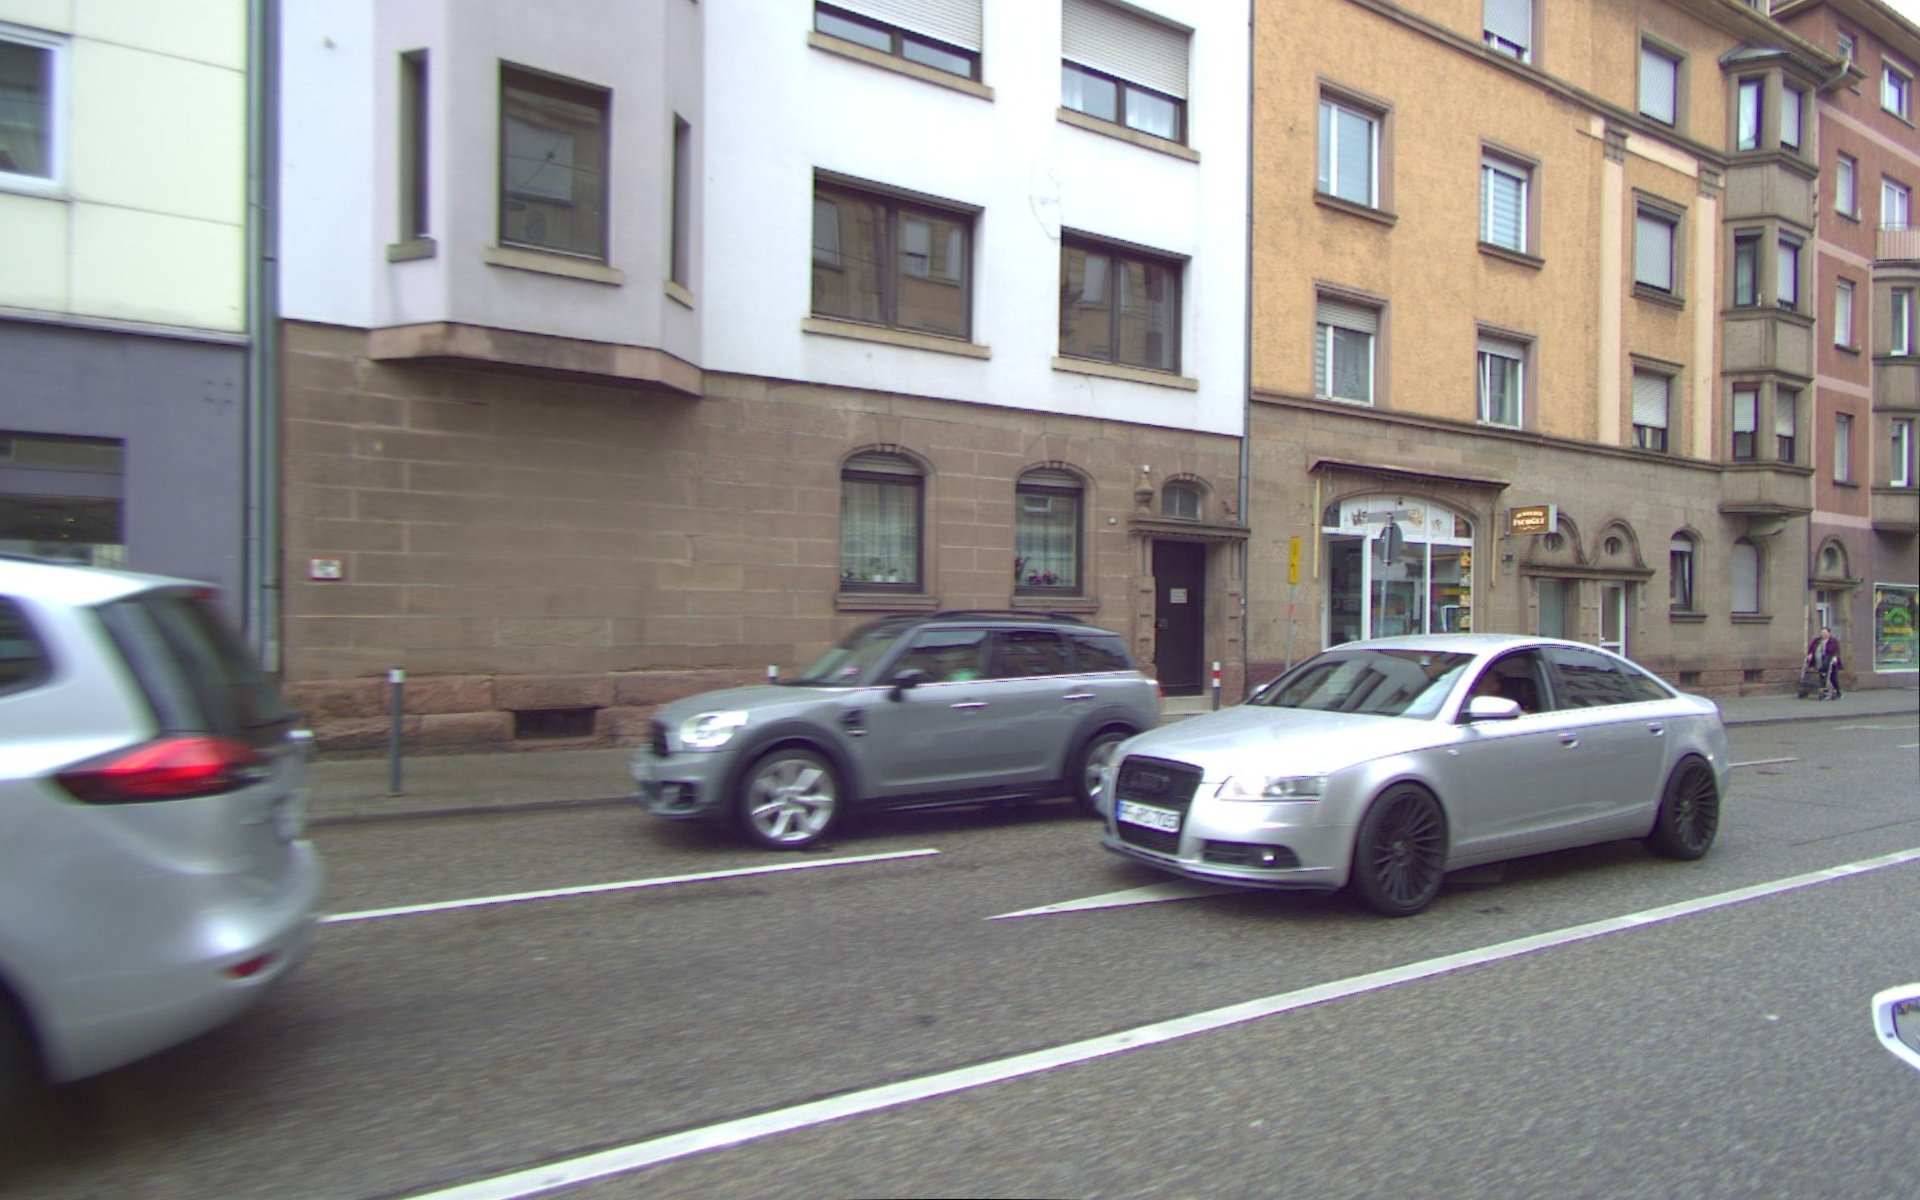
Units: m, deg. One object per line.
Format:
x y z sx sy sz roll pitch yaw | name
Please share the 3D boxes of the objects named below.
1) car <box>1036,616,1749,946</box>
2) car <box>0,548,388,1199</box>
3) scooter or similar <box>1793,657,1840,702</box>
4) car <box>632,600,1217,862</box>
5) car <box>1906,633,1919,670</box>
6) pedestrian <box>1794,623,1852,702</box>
2.900 0.907 6.513 4.505 1.490 1.934 2 -2 -29 | car
-4.060 0.654 2.531 4.466 1.604 1.934 2 -2 -29 | car
18.993 1.755 22.276 0.477 0.937 0.706 2 0 -41 | scooter or similar
-0.265 0.903 8.075 4.280 1.616 1.975 2 -2 -26 | car
43.540 2.234 42.671 4.565 1.553 1.901 0 -2 34 | car
19.474 1.393 22.669 0.847 1.701 0.835 2 0 -41 | pedestrian
